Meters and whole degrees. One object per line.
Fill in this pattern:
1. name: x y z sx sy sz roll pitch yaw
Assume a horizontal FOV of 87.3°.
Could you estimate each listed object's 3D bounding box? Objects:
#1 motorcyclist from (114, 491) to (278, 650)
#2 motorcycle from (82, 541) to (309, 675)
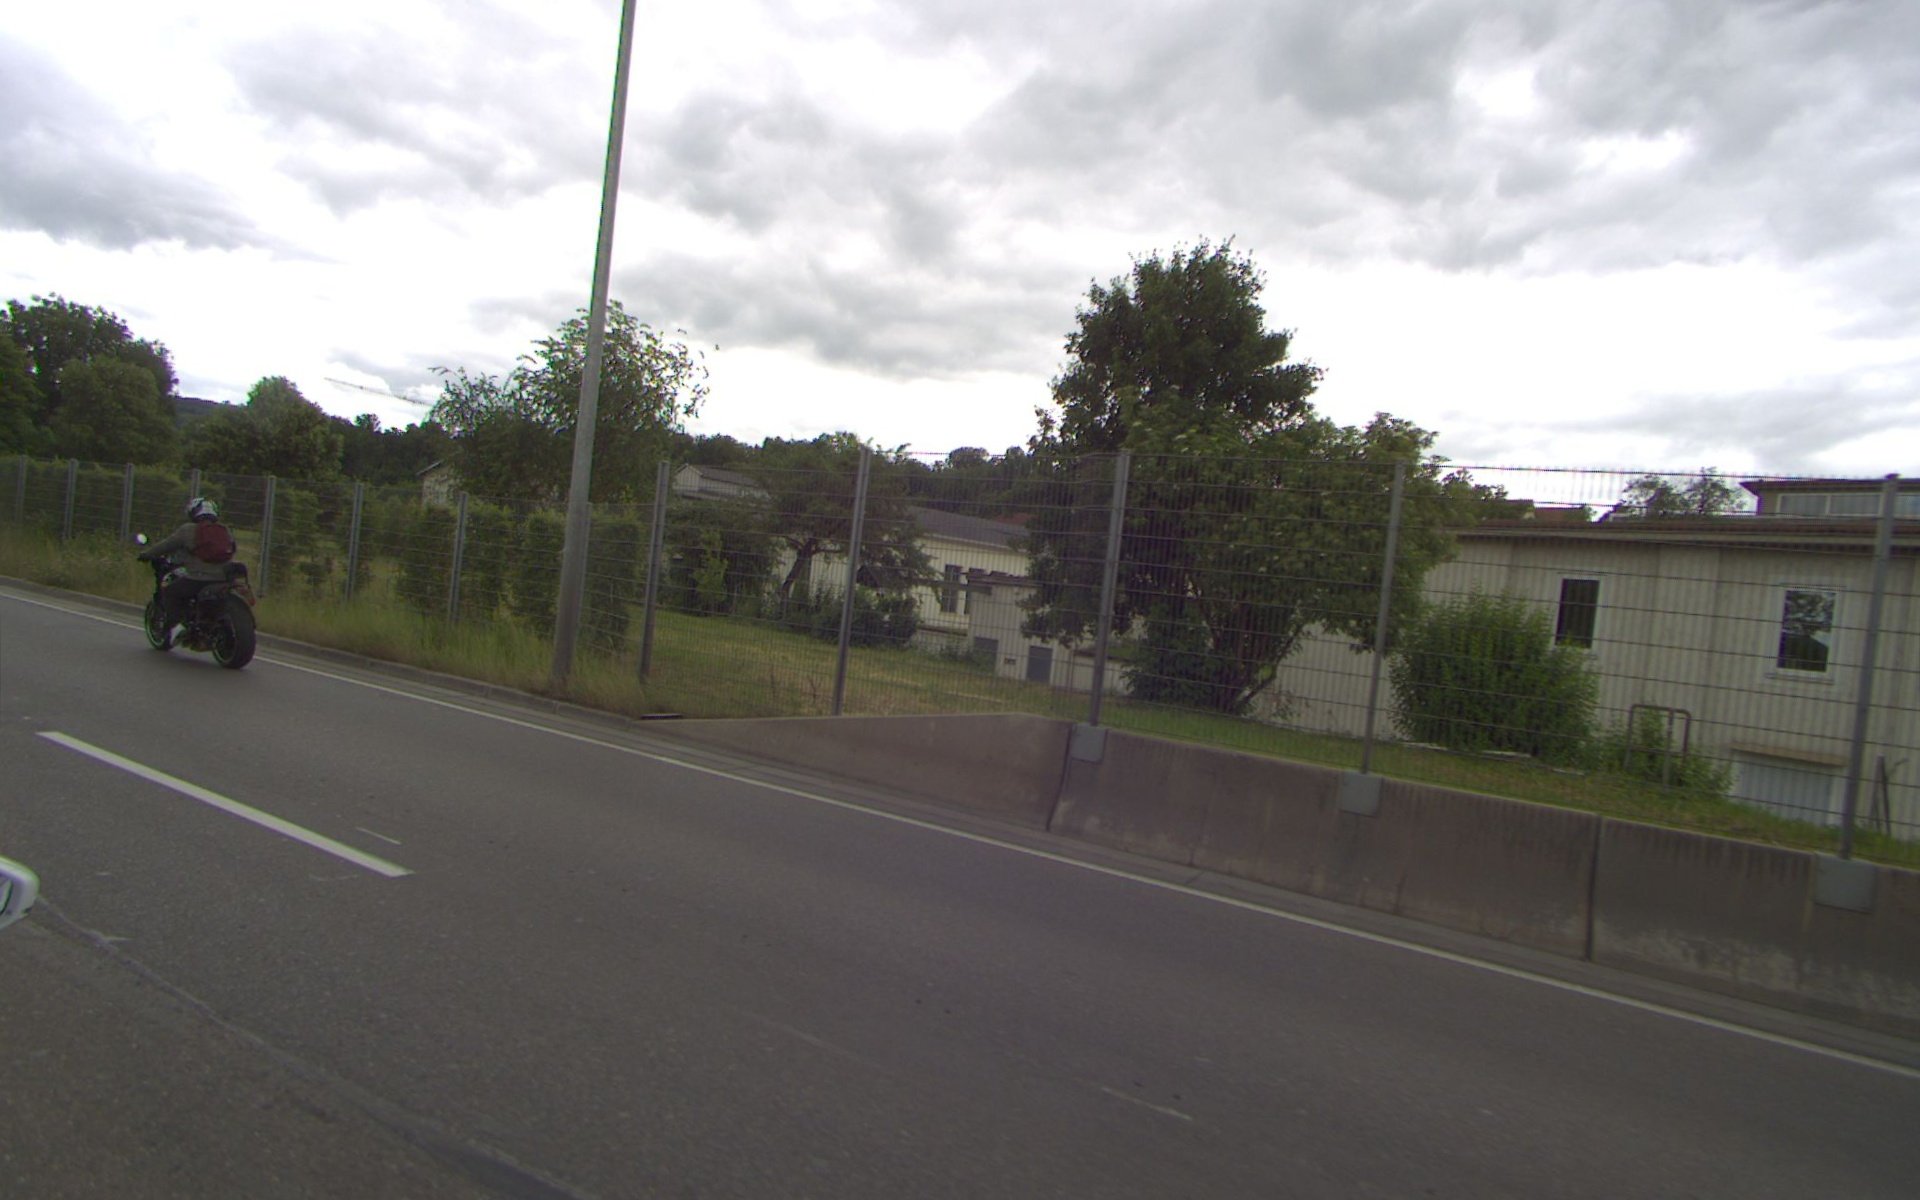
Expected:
1. motorcyclist: -7.973 -0.293 10.516 0.950 1.495 0.915 7 0 26
2. motorcycle: -8.059 0.061 10.563 2.617 1.097 0.745 6 1 26
